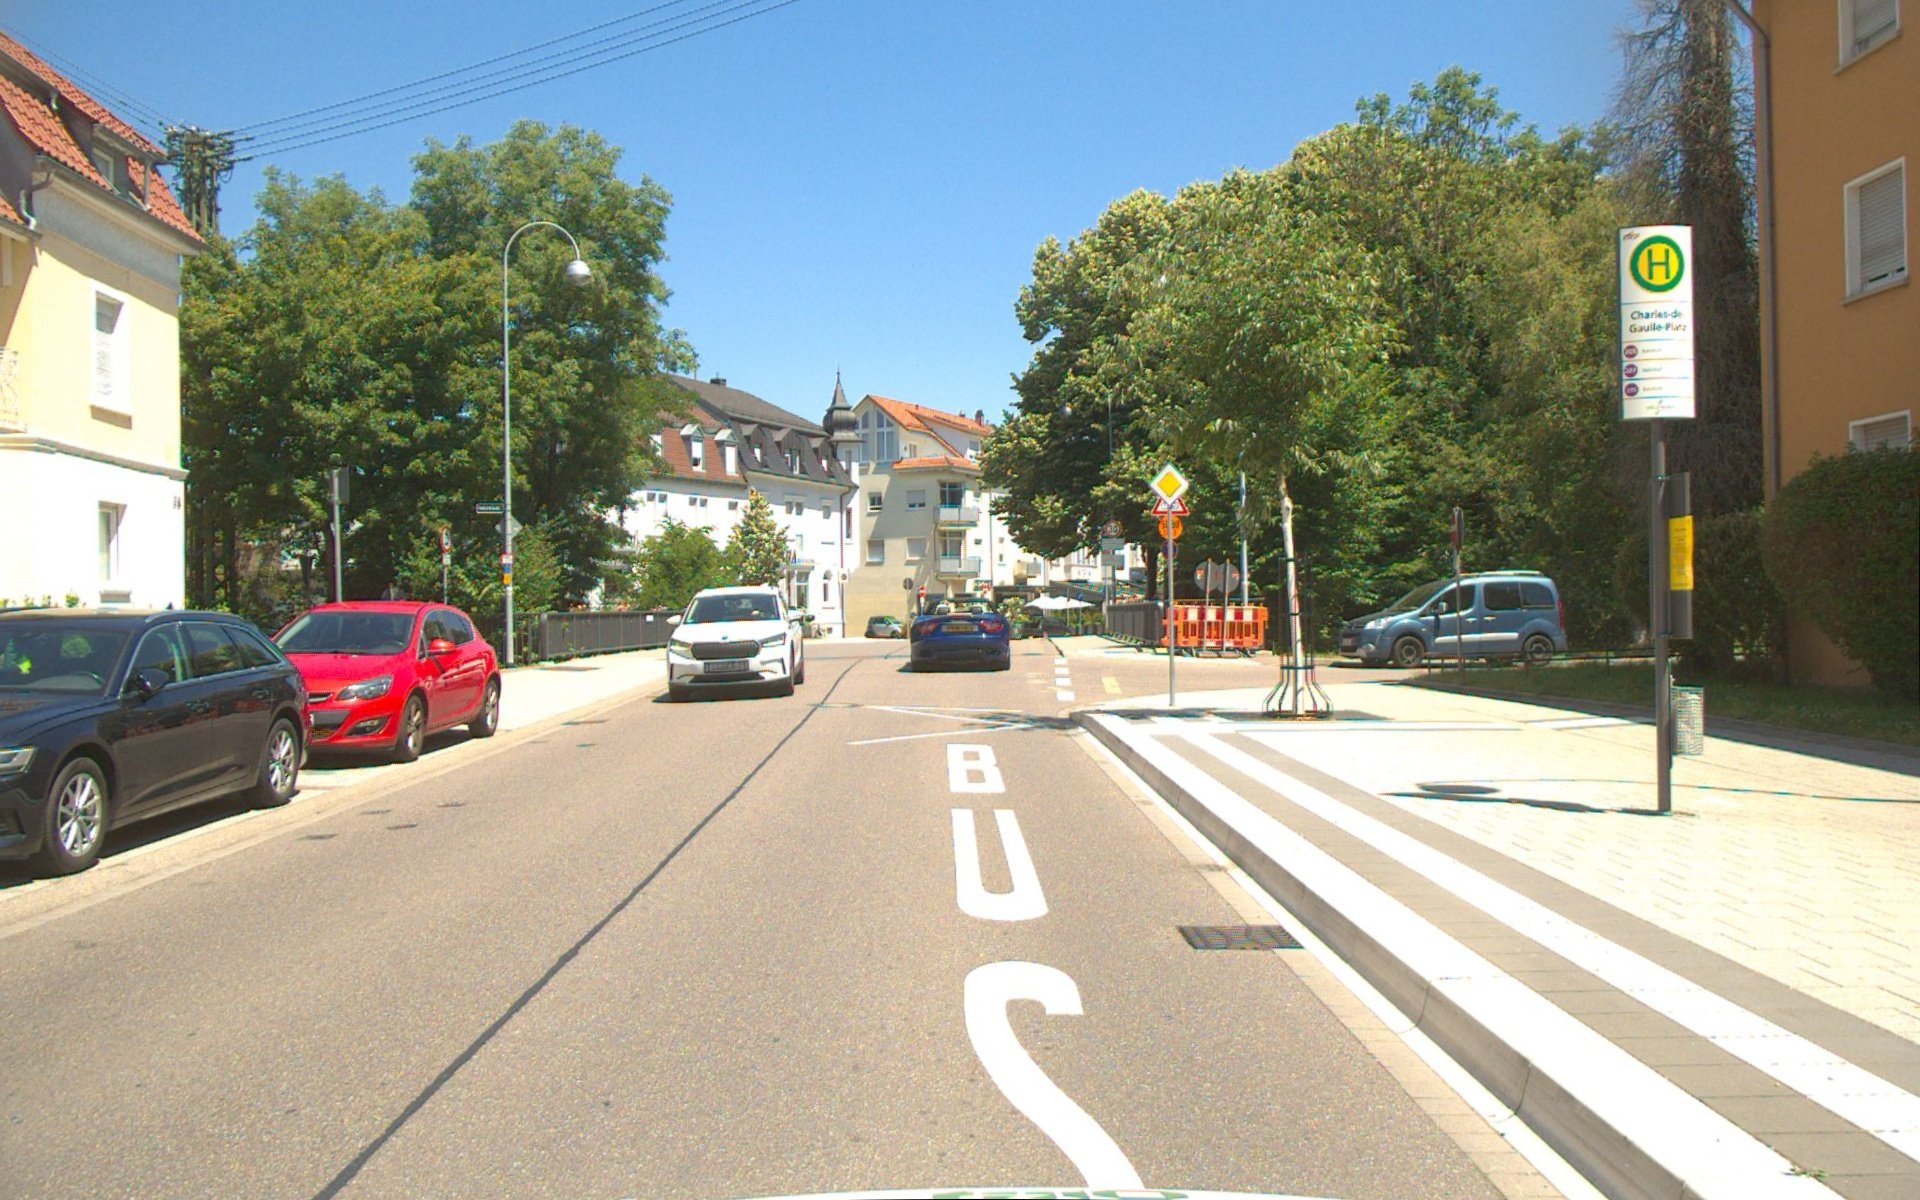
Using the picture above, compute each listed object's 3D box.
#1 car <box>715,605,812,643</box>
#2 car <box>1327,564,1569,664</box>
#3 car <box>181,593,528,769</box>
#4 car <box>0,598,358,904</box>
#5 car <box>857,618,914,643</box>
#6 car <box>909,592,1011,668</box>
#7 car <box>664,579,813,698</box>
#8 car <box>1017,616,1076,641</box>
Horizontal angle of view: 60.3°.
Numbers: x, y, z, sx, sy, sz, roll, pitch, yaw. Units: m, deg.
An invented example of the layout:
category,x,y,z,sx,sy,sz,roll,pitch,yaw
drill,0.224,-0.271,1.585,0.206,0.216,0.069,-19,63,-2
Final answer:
category,x,y,z,sx,sy,sz,roll,pitch,yaw
car,-9.293,1.151,78.309,4.095,1.691,1.970,-1,-2,23
car,9.590,0.291,32.610,4.257,1.871,1.746,1,-1,-9
car,-5.984,0.717,17.035,1.839,1.505,4.737,2,0,-1
car,-5.883,0.774,11.116,1.825,1.487,5.306,1,1,-1
car,-4.687,1.907,104.369,3.196,1.484,1.691,-1,-1,22
car,-0.024,0.565,32.055,1.832,1.366,4.595,0,-1,-1
car,-3.362,0.544,25.817,1.840,1.624,4.357,-2,0,-2
car,5.386,1.777,102.827,1.684,1.486,4.112,1,-1,36
